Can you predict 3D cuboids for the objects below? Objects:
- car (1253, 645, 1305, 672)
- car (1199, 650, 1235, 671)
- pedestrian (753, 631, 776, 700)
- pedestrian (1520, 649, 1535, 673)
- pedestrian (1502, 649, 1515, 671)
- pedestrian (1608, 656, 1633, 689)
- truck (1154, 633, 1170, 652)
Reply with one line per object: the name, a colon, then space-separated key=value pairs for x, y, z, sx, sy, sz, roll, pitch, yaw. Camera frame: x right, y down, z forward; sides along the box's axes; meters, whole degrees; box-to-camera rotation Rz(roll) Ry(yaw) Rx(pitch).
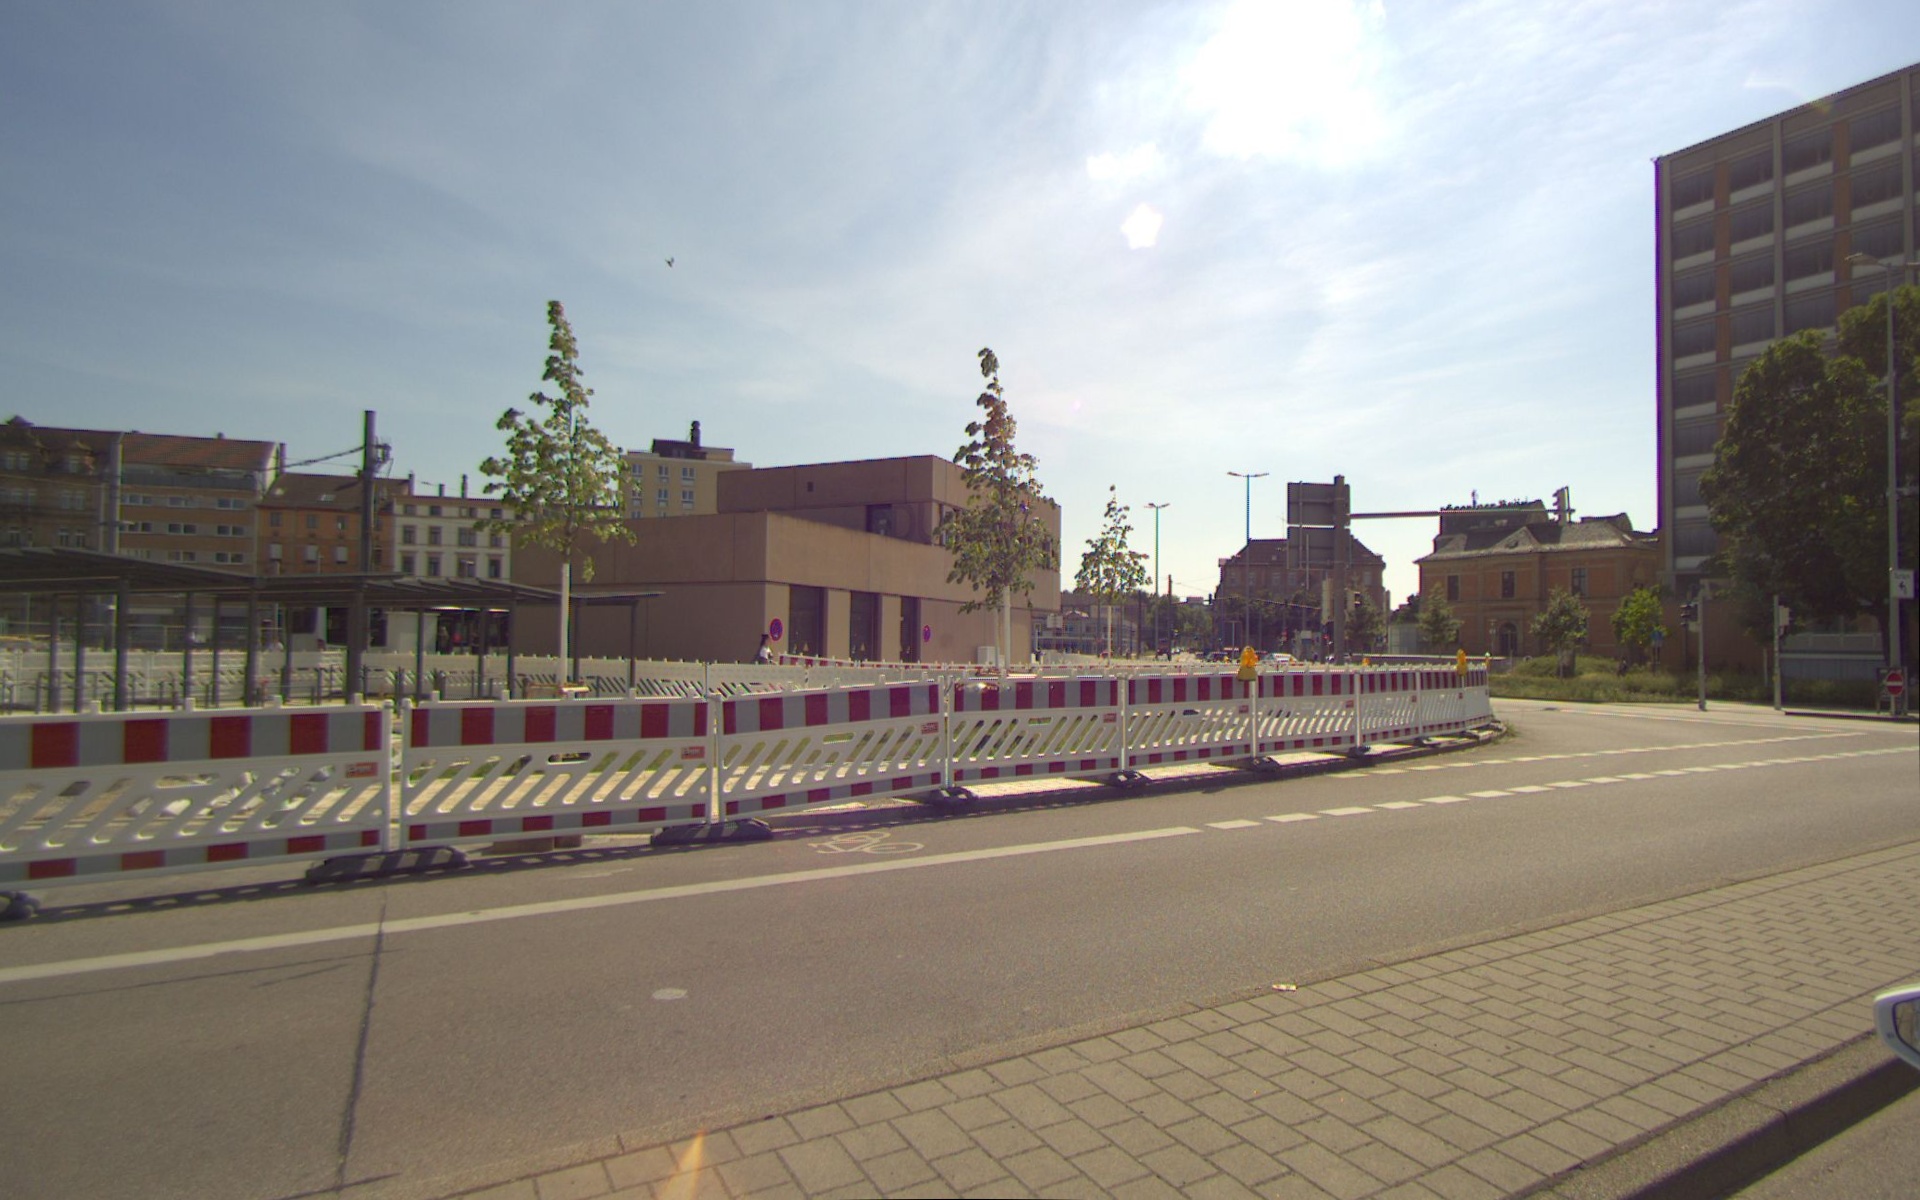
car: x=22.298 y=4.075 z=70.327 sx=1.963 sy=1.839 sz=3.996 roll=1 pitch=-3 yaw=-7
car: x=19.919 y=4.641 z=77.919 sx=1.764 sy=1.530 sz=4.002 roll=1 pitch=-3 yaw=1
pedestrian: x=-4.517 y=1.507 z=23.208 sx=0.415 sy=1.585 sz=0.558 roll=1 pitch=-2 yaw=-2
pedestrian: x=41.431 y=4.437 z=73.312 sx=0.637 sy=1.683 sz=0.650 roll=2 pitch=0 yaw=-3
pedestrian: x=43.322 y=4.754 z=79.290 sx=0.641 sy=1.683 sz=0.647 roll=2 pitch=-3 yaw=-22
pedestrian: x=36.034 y=3.965 z=54.801 sx=0.857 sy=1.748 sz=0.799 roll=2 pitch=-2 yaw=-7
truck: x=41.979 y=8.950 z=209.264 sx=3.011 sy=3.779 sz=7.937 roll=1 pitch=-3 yaw=10
